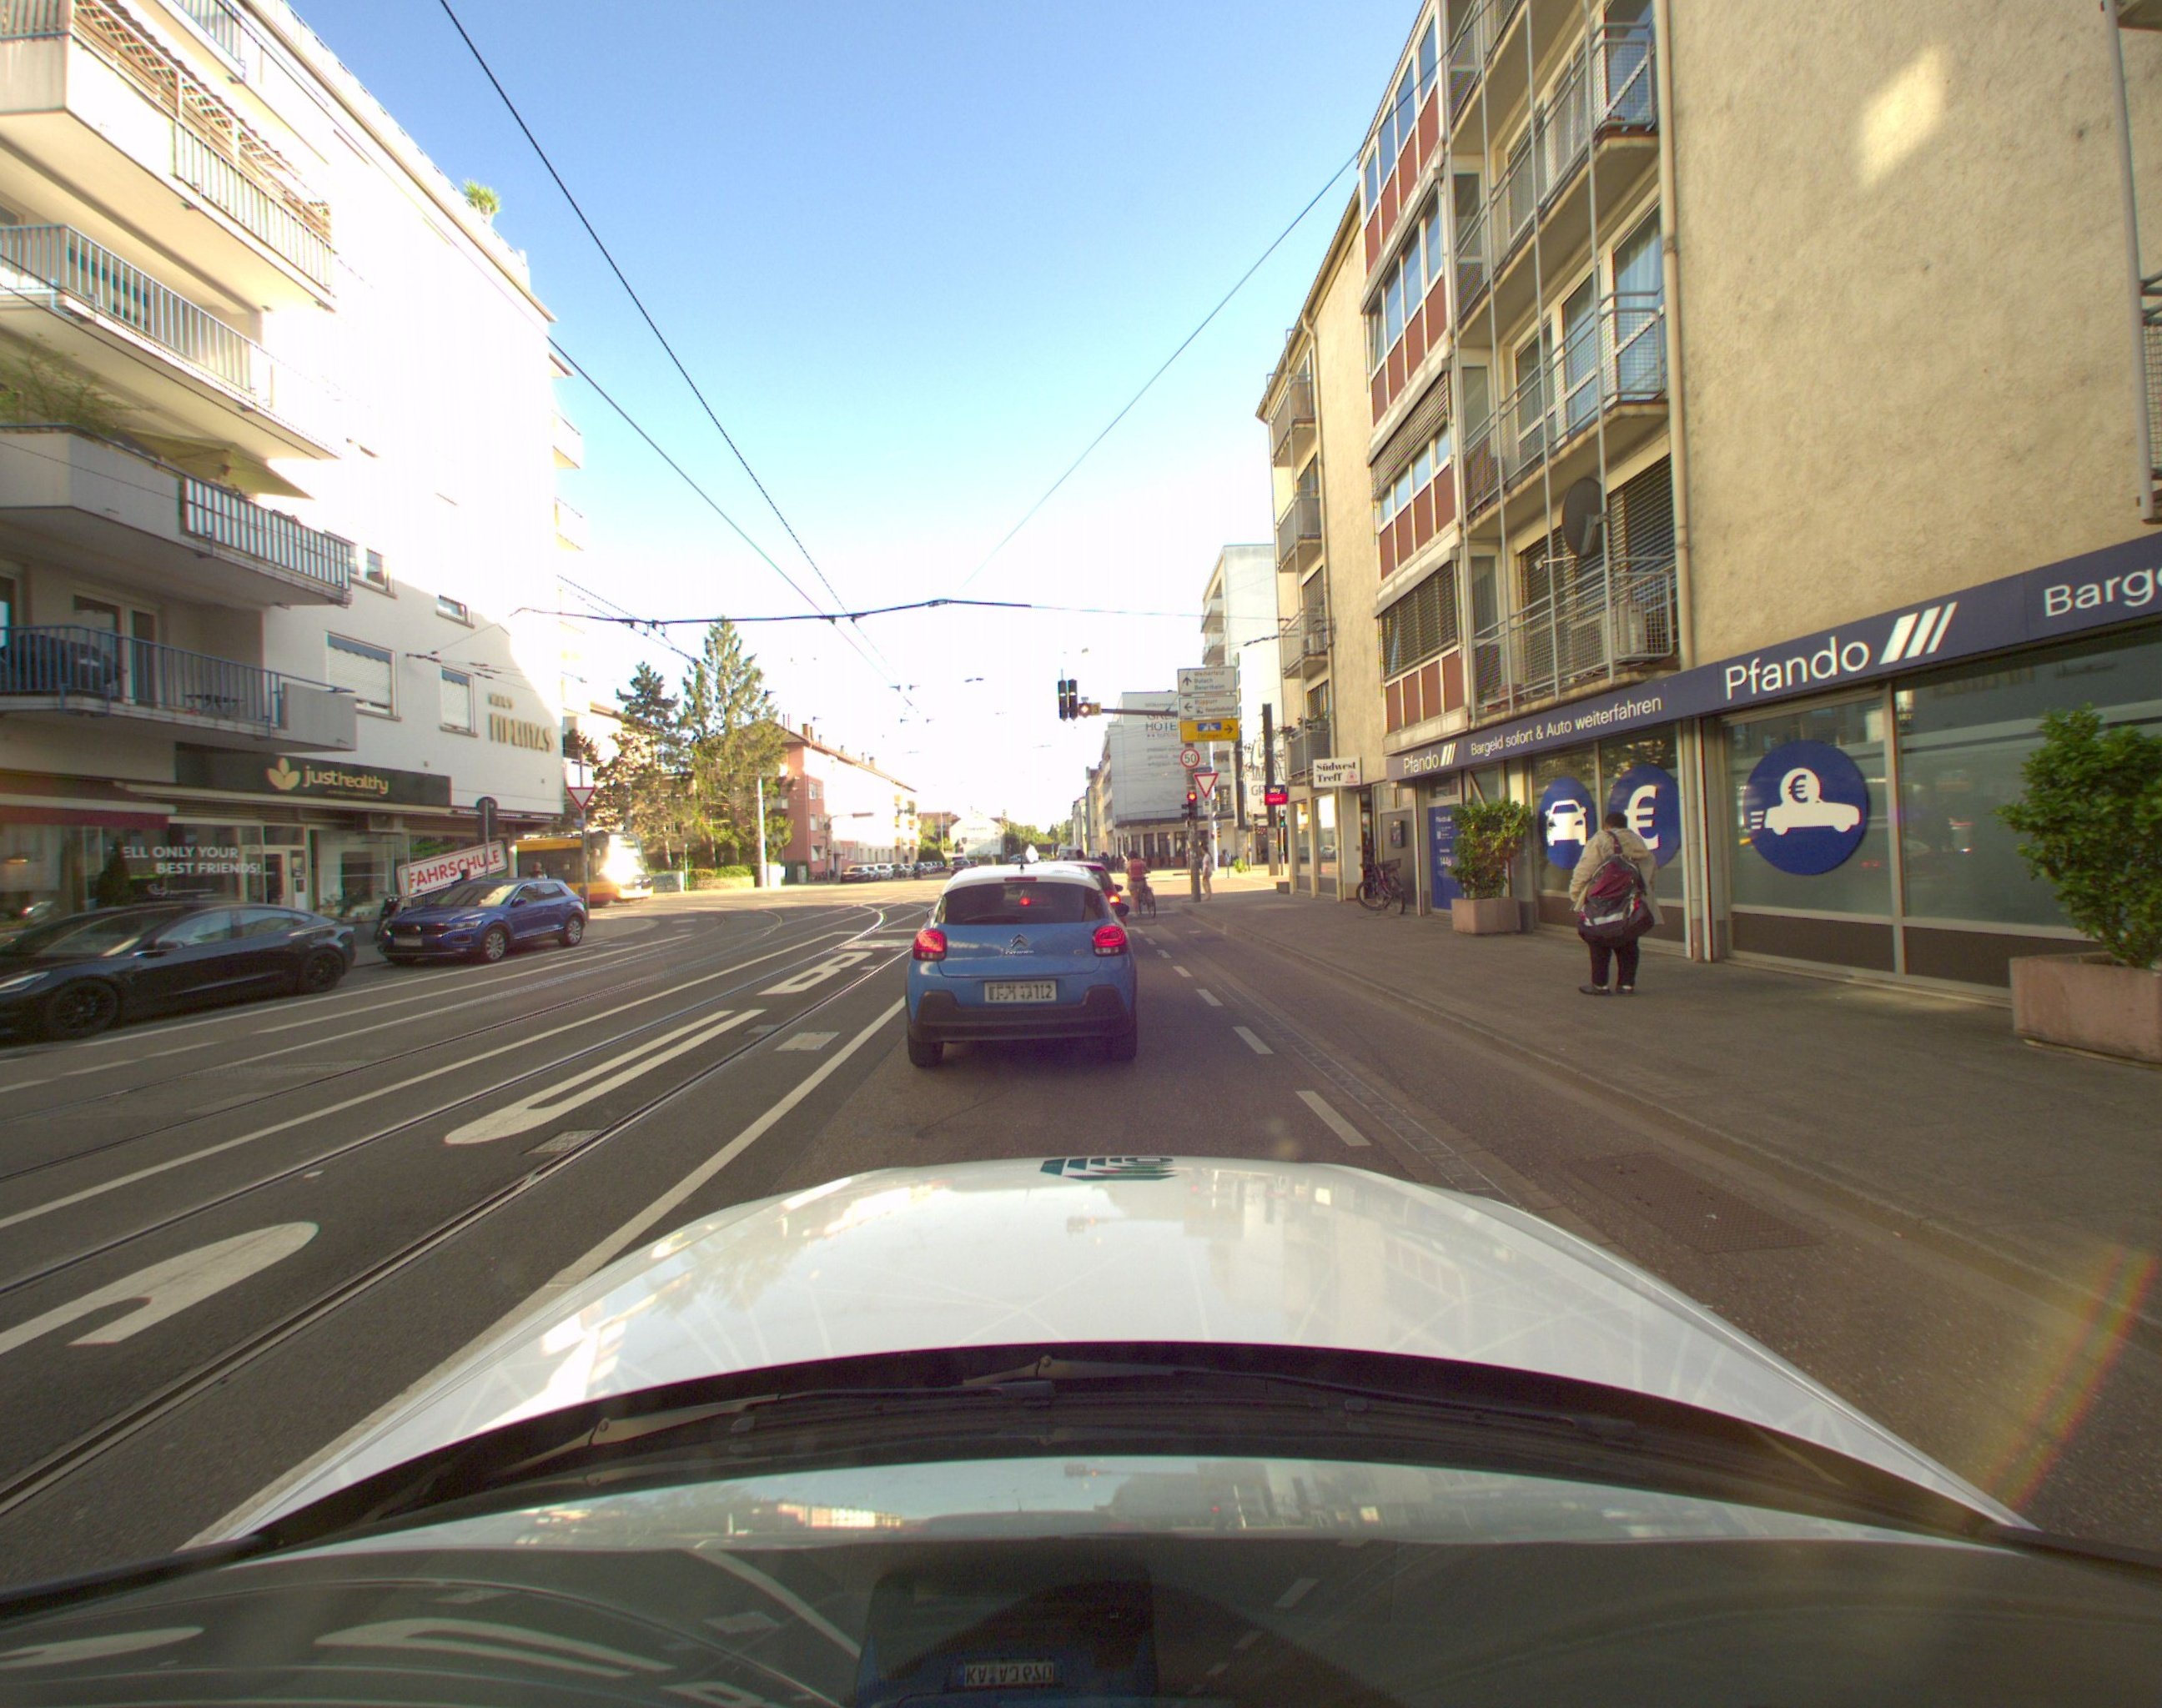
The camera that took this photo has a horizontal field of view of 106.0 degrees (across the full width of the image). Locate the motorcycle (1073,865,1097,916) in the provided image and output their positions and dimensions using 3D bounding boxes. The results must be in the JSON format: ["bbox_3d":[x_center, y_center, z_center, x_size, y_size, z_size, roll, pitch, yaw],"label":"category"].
[{"bbox_3d":[0.115,0.835,19.553,0.524,1.139,2.290,0,-1,2],"label":"motorcycle"}]

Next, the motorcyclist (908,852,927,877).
[{"bbox_3d":[-13.590,0.894,67.758,1.182,2.013,1.275,-2,0,-1],"label":"motorcyclist"}]

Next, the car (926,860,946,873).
[{"bbox_3d":[-18.965,1.668,106.859,1.978,1.687,3.998,0,-1,-1],"label":"car"}]

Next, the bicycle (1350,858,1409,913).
[{"bbox_3d":[5.724,0.578,15.701,0.540,0.998,1.706,0,-1,2],"label":"bicycle"}]

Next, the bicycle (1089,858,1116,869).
[{"bbox_3d":[1.716,0.765,66.030,2.130,0.901,0.366,0,-1,-7],"label":"bicycle"}]

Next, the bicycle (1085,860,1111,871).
[{"bbox_3d":[1.423,0.935,67.716,2.130,0.901,0.366,0,-1,-7],"label":"bicycle"}]

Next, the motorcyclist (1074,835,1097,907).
[{"bbox_3d":[0.121,0.402,19.745,0.524,1.716,0.717,0,-1,2],"label":"motorcyclist"}]

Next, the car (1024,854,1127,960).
[{"bbox_3d":[-0.035,0.779,13.236,1.419,1.467,2.925,-2,-1,2],"label":"car"}]

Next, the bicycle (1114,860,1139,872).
[{"bbox_3d":[3.429,0.904,61.551,1.837,0.903,0.352,-1,-1,21],"label":"bicycle"}]

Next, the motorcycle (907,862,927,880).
[{"bbox_3d":[-13.573,1.379,67.583,0.921,1.486,3.724,0,-1,-1],"label":"motorcycle"}]

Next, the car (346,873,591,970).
[{"bbox_3d":[-11.968,1.225,16.326,1.864,1.531,4.068,-2,0,-2],"label":"car"}]

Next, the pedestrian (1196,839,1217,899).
[{"bbox_3d":[3.739,0.439,24.331,0.515,1.783,0.595,0,-1,0],"label":"pedestrian"}]

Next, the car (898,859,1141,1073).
[{"bbox_3d":[-0.365,0.775,7.307,1.648,1.444,3.524,0,-1,2],"label":"car"}]

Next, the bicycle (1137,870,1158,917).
[{"bbox_3d":[1.677,0.974,20.641,0.426,1.123,1.999,0,-1,2],"label":"bicycle"}]

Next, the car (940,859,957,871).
[{"bbox_3d":[-19.028,1.629,117.338,1.828,1.687,3.998,0,-1,-1],"label":"car"}]

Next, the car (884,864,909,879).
[{"bbox_3d":[-19.614,1.822,86.721,1.781,1.498,3.998,0,0,-1],"label":"car"}]

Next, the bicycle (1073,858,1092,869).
[{"bbox_3d":[0.139,0.818,69.617,1.765,0.901,0.369,-1,-1,36],"label":"bicycle"}]

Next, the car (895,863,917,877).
[{"bbox_3d":[-19.867,1.842,92.648,1.728,1.498,3.996,0,-1,-2],"label":"car"}]

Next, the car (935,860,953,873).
[{"bbox_3d":[-18.838,1.673,111.924,1.877,1.687,3.998,0,-1,-1],"label":"car"}]

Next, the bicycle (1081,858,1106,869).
[{"bbox_3d":[1.059,0.814,68.428,2.130,0.901,0.366,0,-1,-7],"label":"bicycle"}]

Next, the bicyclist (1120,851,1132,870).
[{"bbox_3d":[3.403,0.491,61.573,0.739,1.477,0.566,-1,-1,21],"label":"bicyclist"}]

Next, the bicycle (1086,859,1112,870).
[{"bbox_3d":[1.518,0.862,67.239,2.130,0.901,0.366,0,-1,-7],"label":"bicycle"}]

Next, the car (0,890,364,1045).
[{"bbox_3d":[-12.040,1.292,10.441,1.816,1.387,4.425,-3,0,-2],"label":"car"}]

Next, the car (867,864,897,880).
[{"bbox_3d":[-19.452,1.737,79.788,1.781,1.511,4.150,0,0,1],"label":"car"}]

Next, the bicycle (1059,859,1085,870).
[{"bbox_3d":[-0.718,0.873,66.489,2.130,0.901,0.366,0,-1,-7],"label":"bicycle"}]

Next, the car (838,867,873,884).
[{"bbox_3d":[-19.216,1.809,69.448,1.787,1.421,3.996,0,0,1],"label":"car"}]

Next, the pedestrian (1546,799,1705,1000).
[{"bbox_3d":[4.543,0.367,6.849,0.822,1.593,0.751,0,-1,1],"label":"pedestrian"}]

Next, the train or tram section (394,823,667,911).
[{"bbox_3d":[-26.096,0.663,38.597,12.498,3.594,3.084,-2,-1,14],"label":"train or tram section"}]

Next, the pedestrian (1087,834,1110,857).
[{"bbox_3d":[1.633,-0.733,73.686,1.986,2.014,4.001,0,-1,2],"label":"pedestrian"}]

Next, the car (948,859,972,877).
[{"bbox_3d":[-11.360,1.336,76.812,1.770,1.666,3.854,0,-1,-2],"label":"car"}]

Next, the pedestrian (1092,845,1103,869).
[{"bbox_3d":[1.397,0.235,69.259,0.635,2.014,0.717,0,-1,-34],"label":"pedestrian"}]

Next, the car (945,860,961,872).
[{"bbox_3d":[-19.124,1.755,121.983,1.841,1.687,3.872,0,-1,-1],"label":"car"}]

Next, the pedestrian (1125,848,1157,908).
[{"bbox_3d":[1.494,0.585,20.348,0.774,1.460,0.682,0,-1,1],"label":"pedestrian"}]

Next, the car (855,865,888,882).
[{"bbox_3d":[-19.301,1.786,75.153,1.808,1.498,4.302,0,0,2],"label":"car"}]

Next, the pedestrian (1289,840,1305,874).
[{"bbox_3d":[10.497,0.141,39.568,0.730,1.601,0.751,-1,-1,15],"label":"pedestrian"}]

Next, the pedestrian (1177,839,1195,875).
[{"bbox_3d":[6.035,0.168,46.900,0.922,2.014,0.760,0,-1,1],"label":"pedestrian"}]

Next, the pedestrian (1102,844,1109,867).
[{"bbox_3d":[2.124,0.141,70.324,0.575,2.014,0.625,0,-1,-1],"label":"pedestrian"}]

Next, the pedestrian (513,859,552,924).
[{"bbox_3d":[-17.292,1.166,25.683,0.767,2.014,0.694,0,-1,-4],"label":"pedestrian"}]

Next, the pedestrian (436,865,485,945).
[{"bbox_3d":[-14.270,1.160,18.729,0.569,1.805,0.699,0,-1,1],"label":"pedestrian"}]
